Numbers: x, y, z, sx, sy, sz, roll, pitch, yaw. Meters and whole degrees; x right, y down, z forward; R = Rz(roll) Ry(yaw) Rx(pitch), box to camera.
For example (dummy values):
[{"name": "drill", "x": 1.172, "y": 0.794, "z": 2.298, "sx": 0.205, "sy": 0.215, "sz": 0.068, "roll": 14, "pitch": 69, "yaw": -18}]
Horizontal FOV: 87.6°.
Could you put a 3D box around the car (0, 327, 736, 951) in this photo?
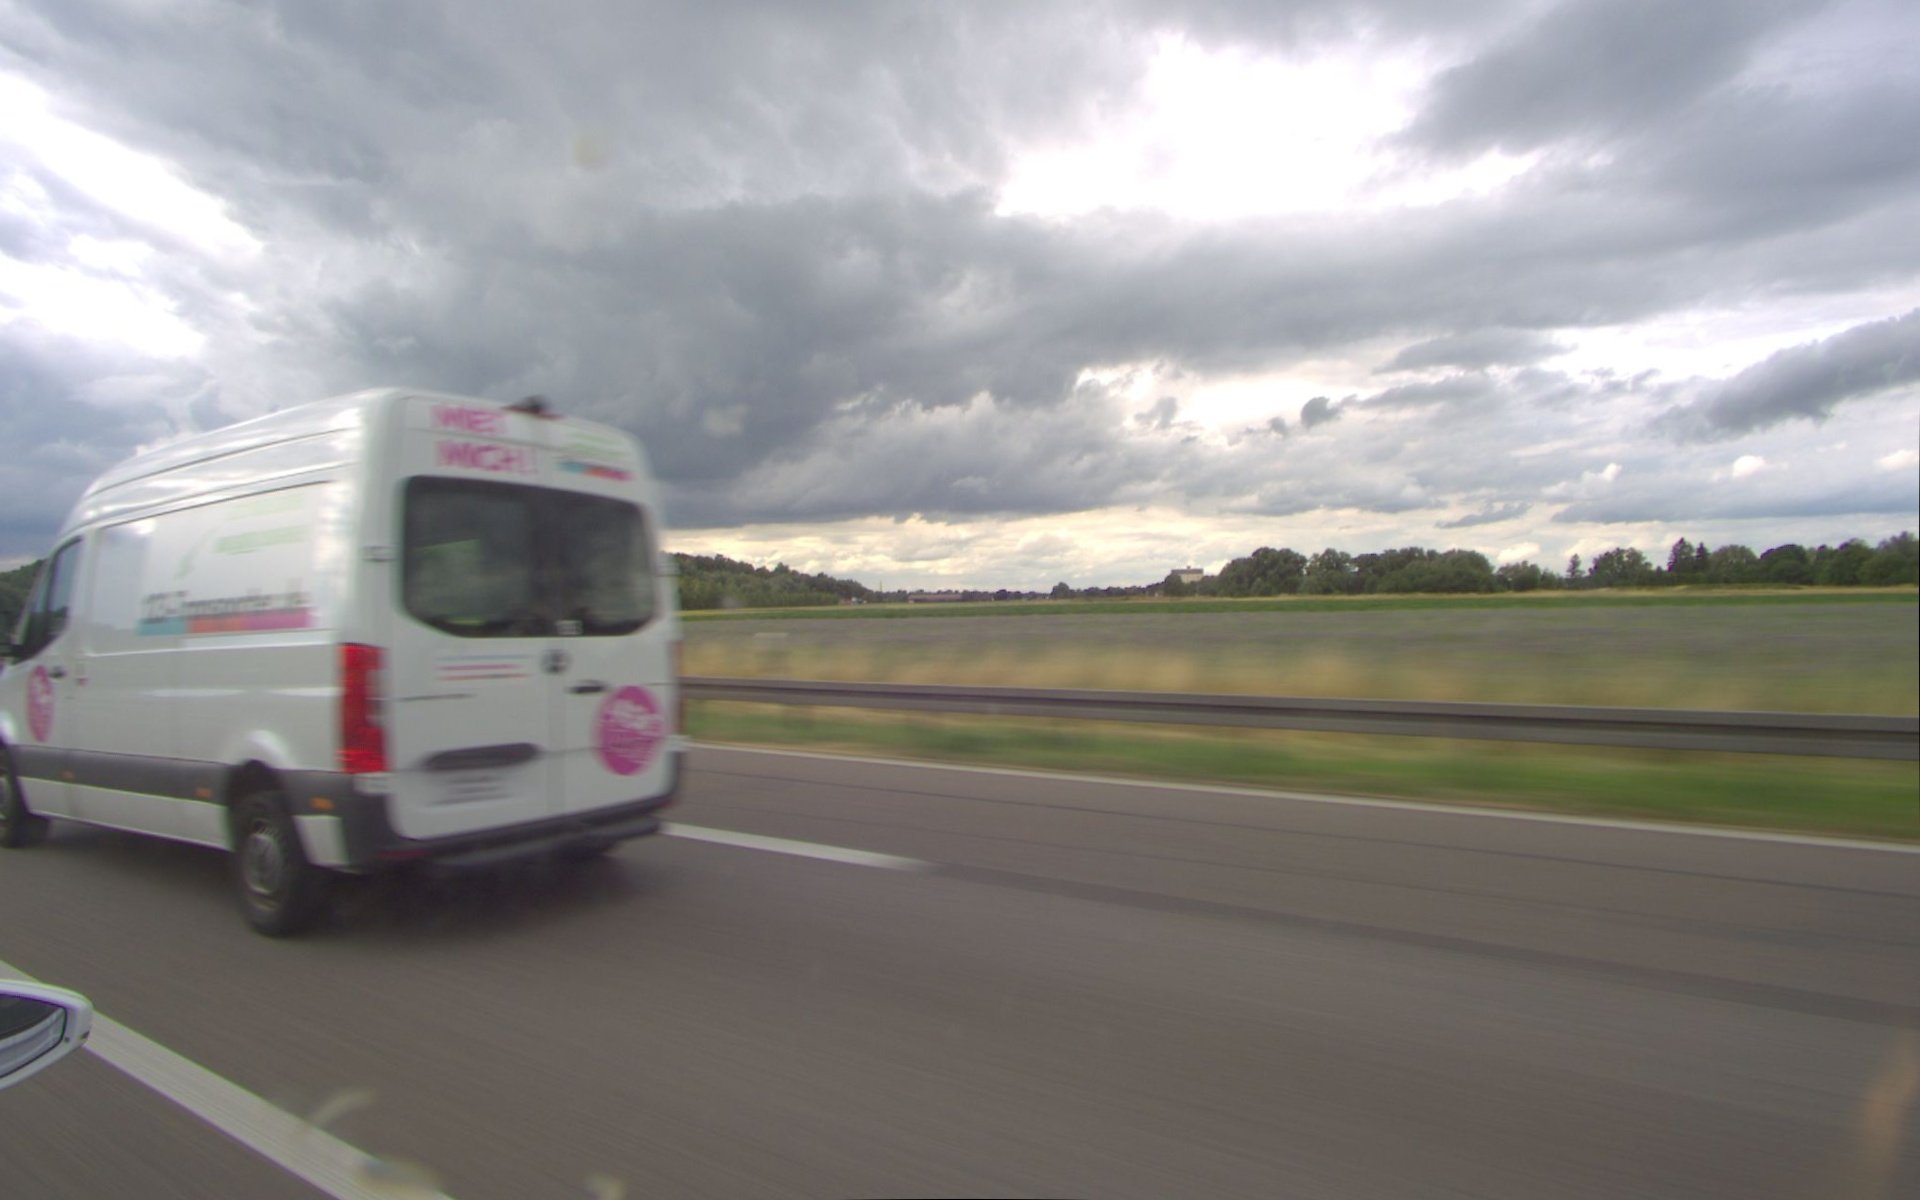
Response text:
[{"name": "car", "x": -4.532, "y": 0.212, "z": 6.793, "sx": 6.167, "sy": 2.601, "sz": 2.216, "roll": -1, "pitch": -1, "yaw": 33}]
